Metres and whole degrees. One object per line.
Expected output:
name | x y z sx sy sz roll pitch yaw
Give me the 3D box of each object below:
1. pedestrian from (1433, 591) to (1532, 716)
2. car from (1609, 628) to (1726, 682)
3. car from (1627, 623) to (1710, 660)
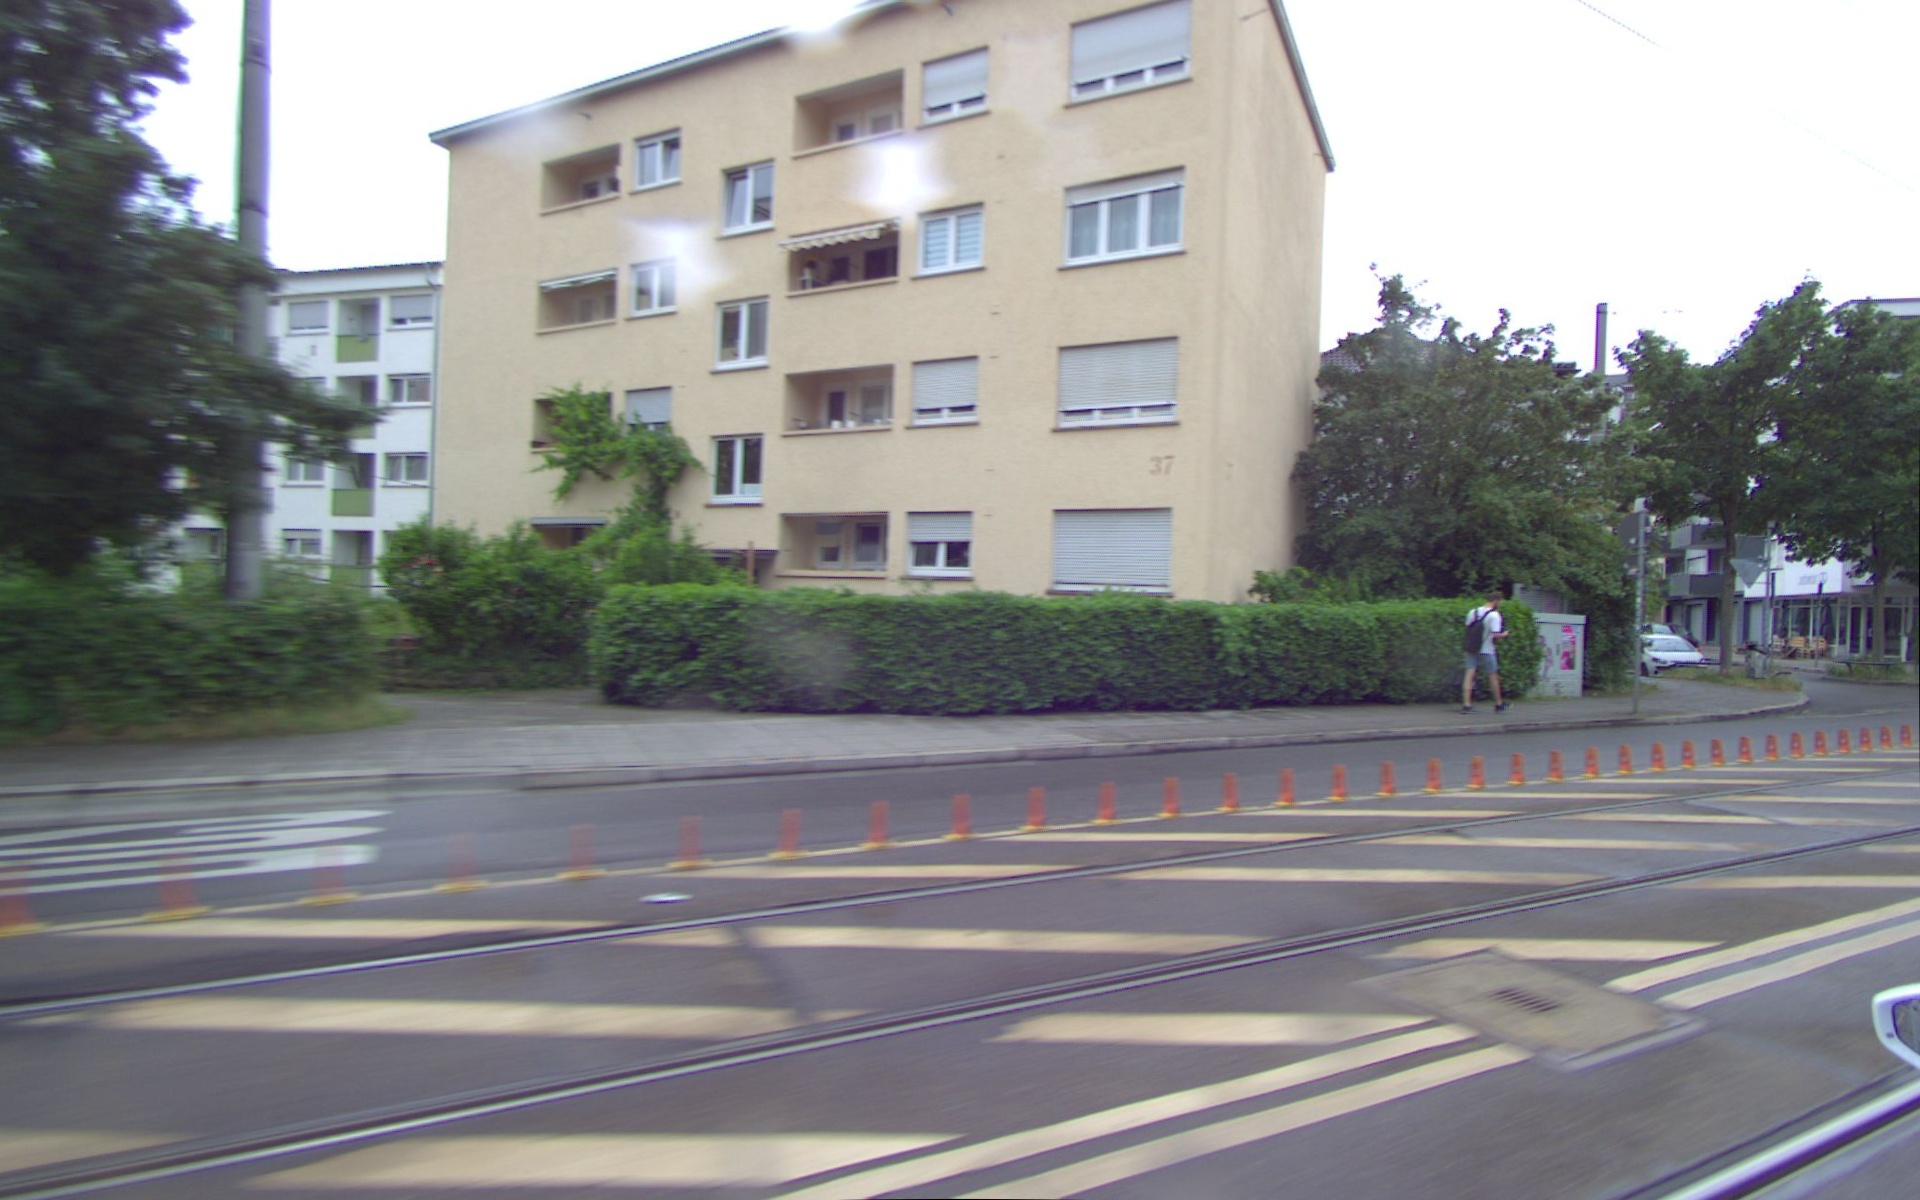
pedestrian | 8.226 0.824 15.827 1.006 1.870 0.913 2 1 -33
car | 23.231 1.746 33.170 1.960 1.500 4.161 3 0 18
car | 34.194 1.966 48.618 1.960 1.538 4.002 3 0 16
